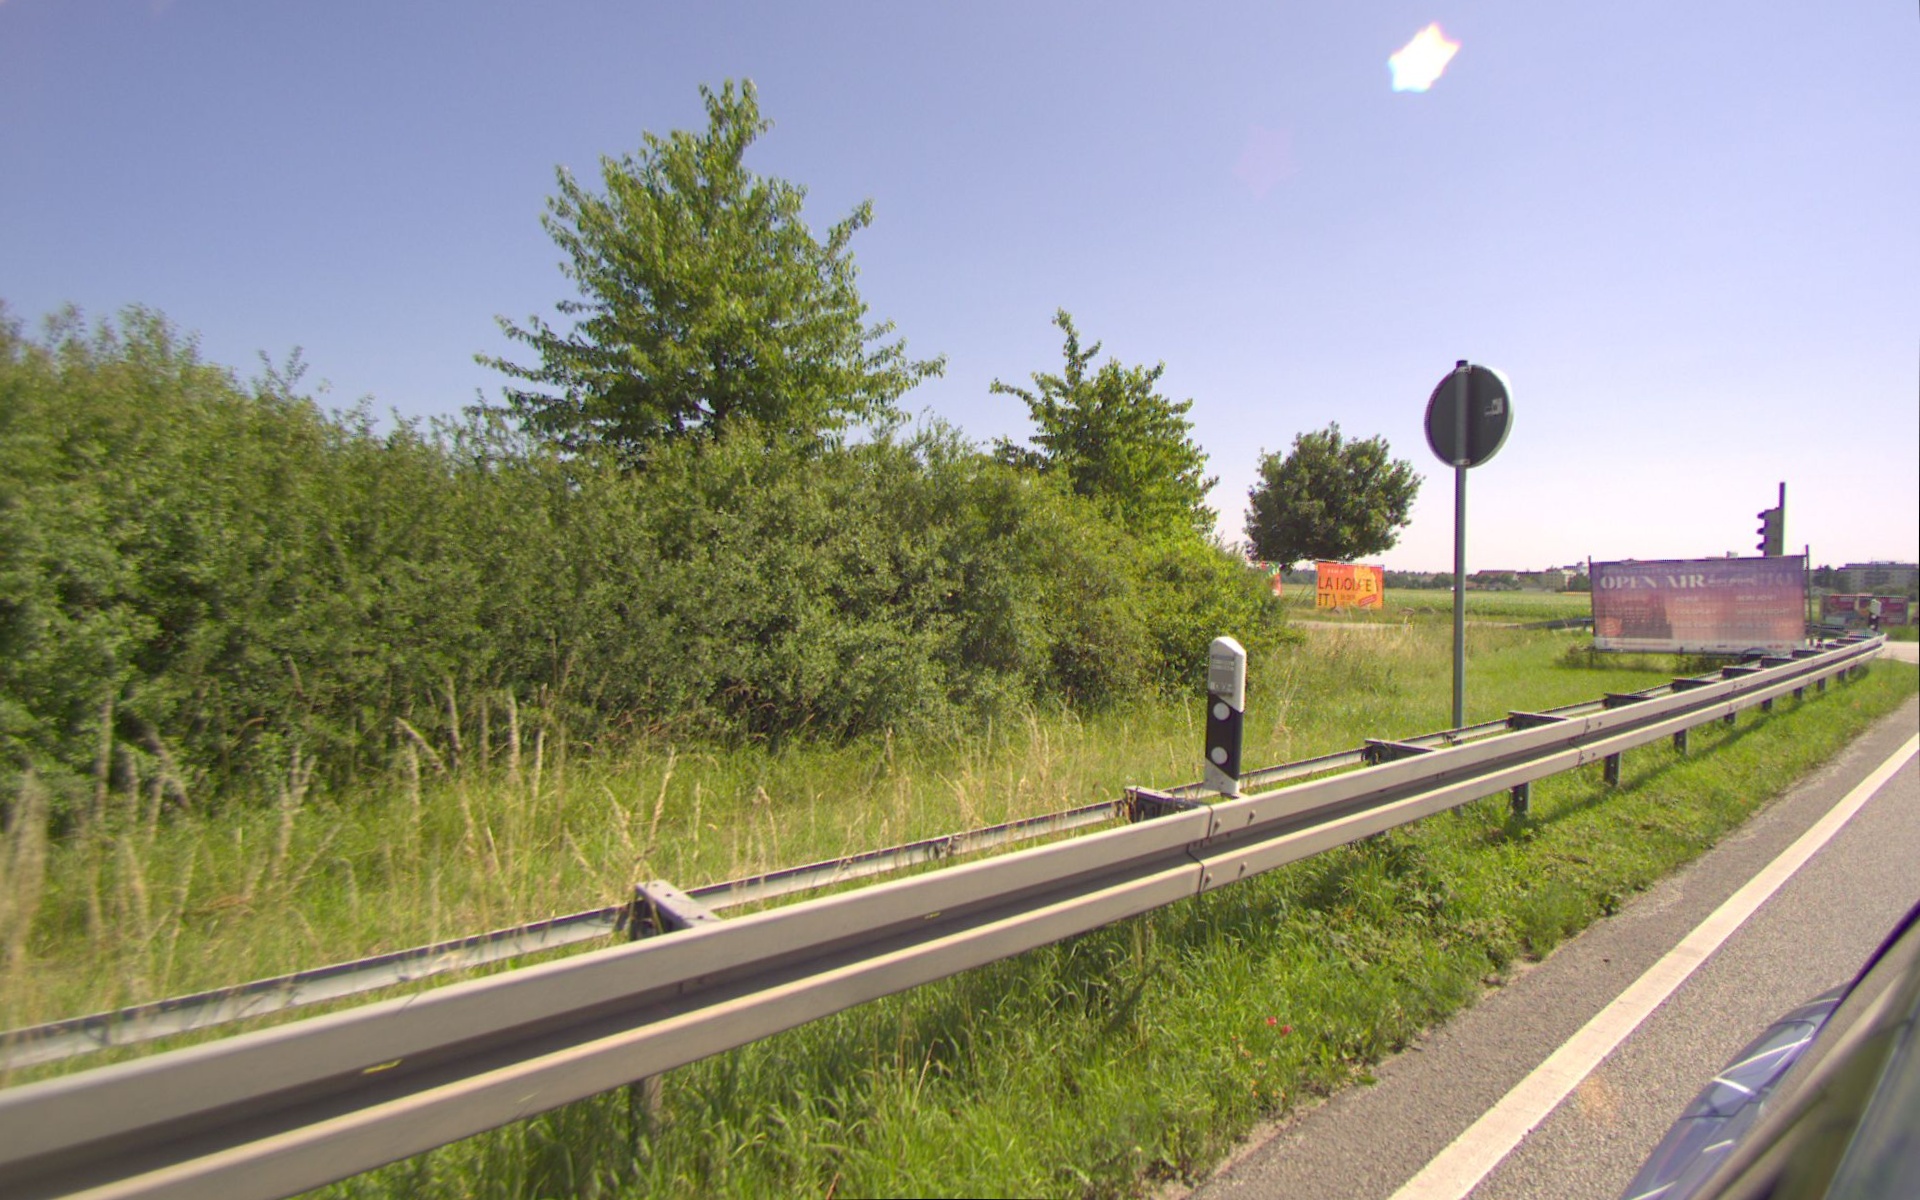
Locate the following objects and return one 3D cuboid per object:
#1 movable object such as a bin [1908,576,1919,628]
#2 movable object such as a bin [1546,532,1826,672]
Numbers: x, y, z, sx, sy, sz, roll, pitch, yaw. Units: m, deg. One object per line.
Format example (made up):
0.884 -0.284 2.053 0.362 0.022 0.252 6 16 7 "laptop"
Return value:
46.610 0.078 47.326 4.331 2.393 1.529 -1 0 -21 "movable object such as a bin"
13.505 0.041 19.033 1.256 2.361 4.098 0 0 -42 "movable object such as a bin"
